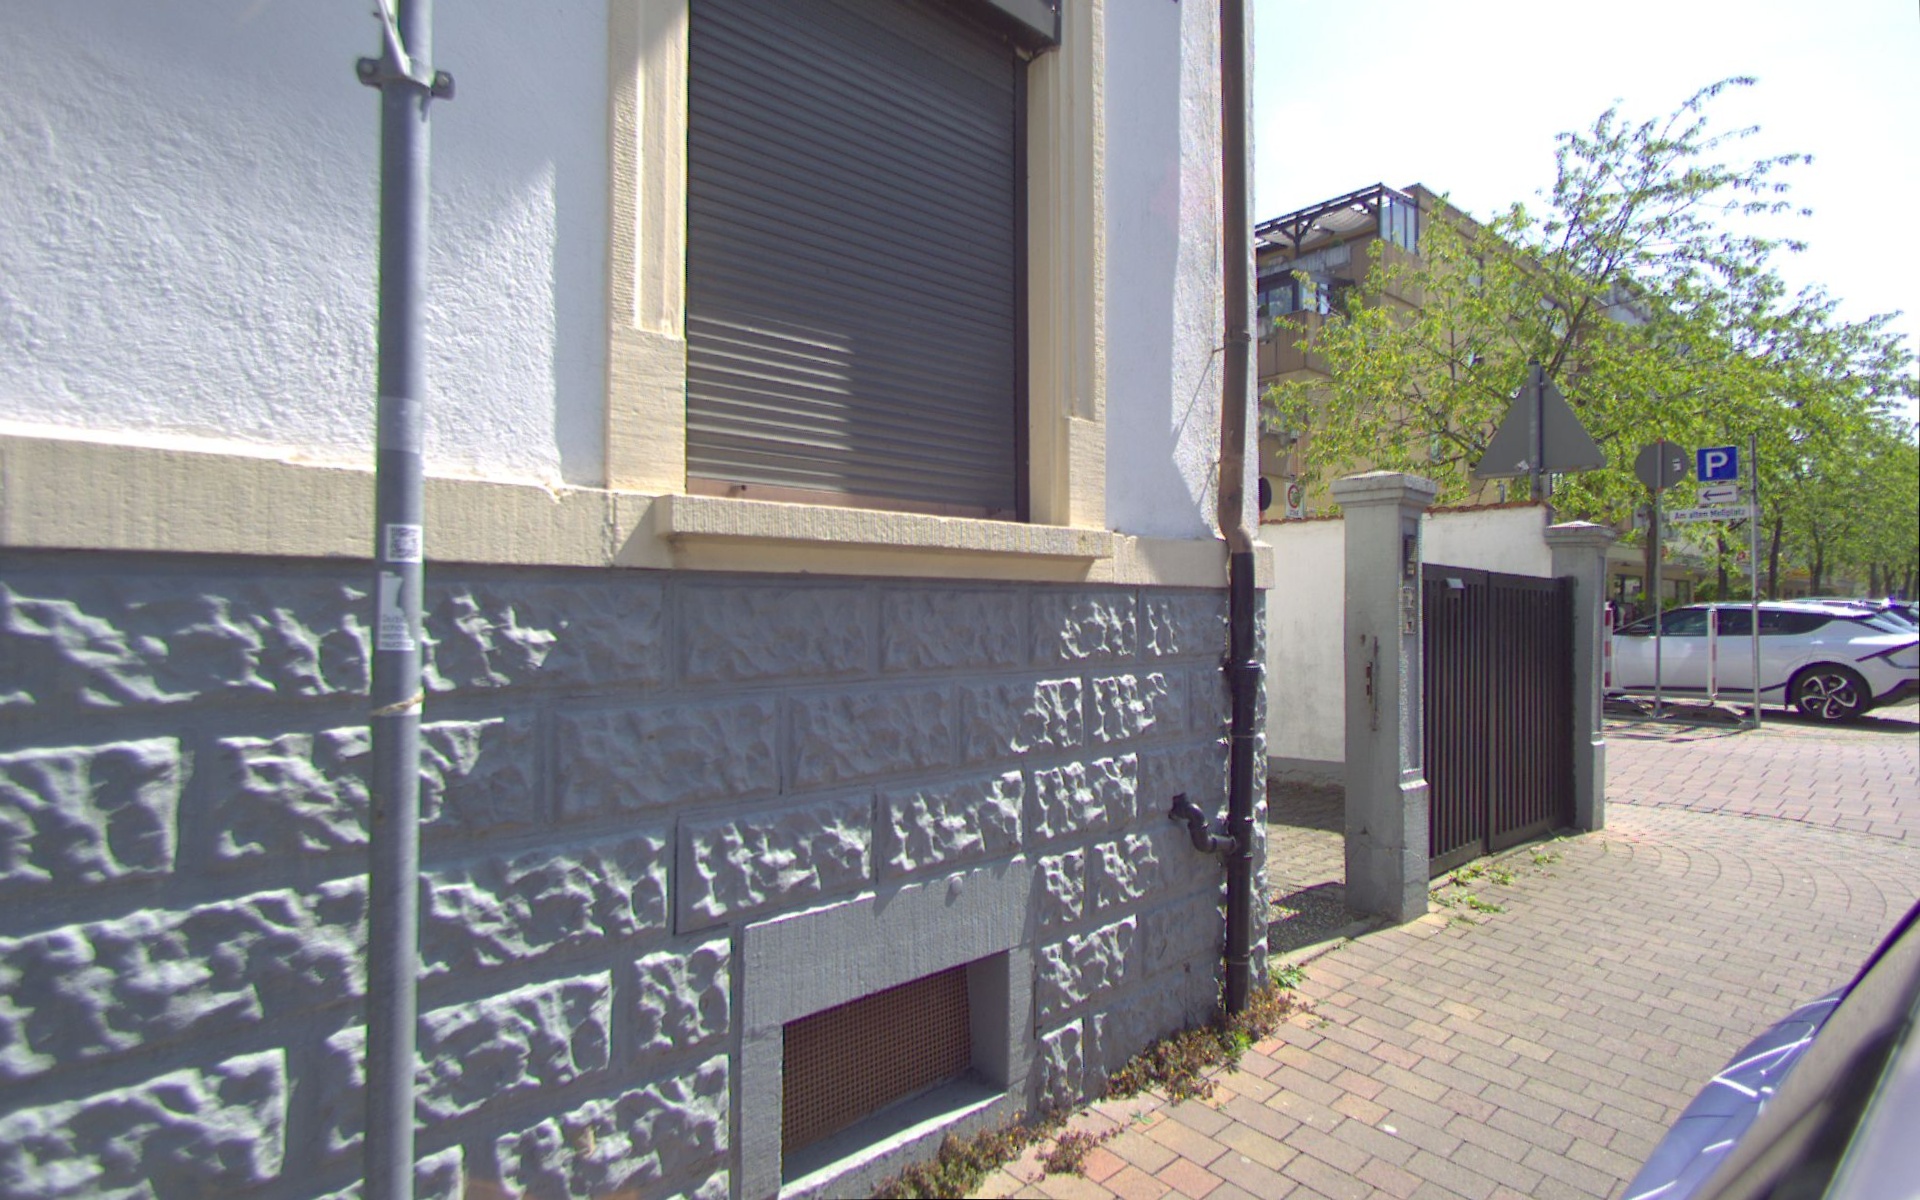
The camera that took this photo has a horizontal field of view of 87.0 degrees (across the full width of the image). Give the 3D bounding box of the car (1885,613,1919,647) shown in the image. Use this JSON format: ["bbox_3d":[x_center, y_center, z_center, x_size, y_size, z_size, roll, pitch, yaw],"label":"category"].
[{"bbox_3d":[45.983,1.383,46.787,1.775,1.563,4.581,1,-2,-41],"label":"car"}]

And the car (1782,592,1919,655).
[{"bbox_3d":[25.387,0.617,27.903,1.653,1.632,4.032,0,1,-42],"label":"car"}]

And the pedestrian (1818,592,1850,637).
[{"bbox_3d":[34.262,0.569,39.666,0.635,1.753,0.617,-1,-2,-8],"label":"pedestrian"}]

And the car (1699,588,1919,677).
[{"bbox_3d":[18.260,0.621,21.164,1.967,1.702,4.282,0,0,-43],"label":"car"}]

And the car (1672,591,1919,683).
[{"bbox_3d":[16.213,0.637,19.359,1.793,1.553,3.949,0,1,-42],"label":"car"}]

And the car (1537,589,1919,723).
[{"bbox_3d":[10.891,0.660,14.302,1.758,1.596,4.447,1,0,-41],"label":"car"}]

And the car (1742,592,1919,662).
[{"bbox_3d":[22.010,0.619,24.581,1.817,1.608,4.518,1,0,-39],"label":"car"}]

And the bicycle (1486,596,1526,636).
[{"bbox_3d":[16.316,0.463,30.237,1.743,1.138,0.413,0,-2,-40],"label":"bicycle"}]

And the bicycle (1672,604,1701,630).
[{"bbox_3d":[31.638,0.745,44.068,1.834,1.095,0.642,0,-2,-42],"label":"bicycle"}]

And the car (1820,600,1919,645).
[{"bbox_3d":[33.136,0.780,35.409,4.350,1.482,1.870,1,0,30],"label":"car"}]

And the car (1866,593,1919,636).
[{"bbox_3d":[37.871,0.569,38.998,1.727,1.638,4.249,1,0,-42],"label":"car"}]
